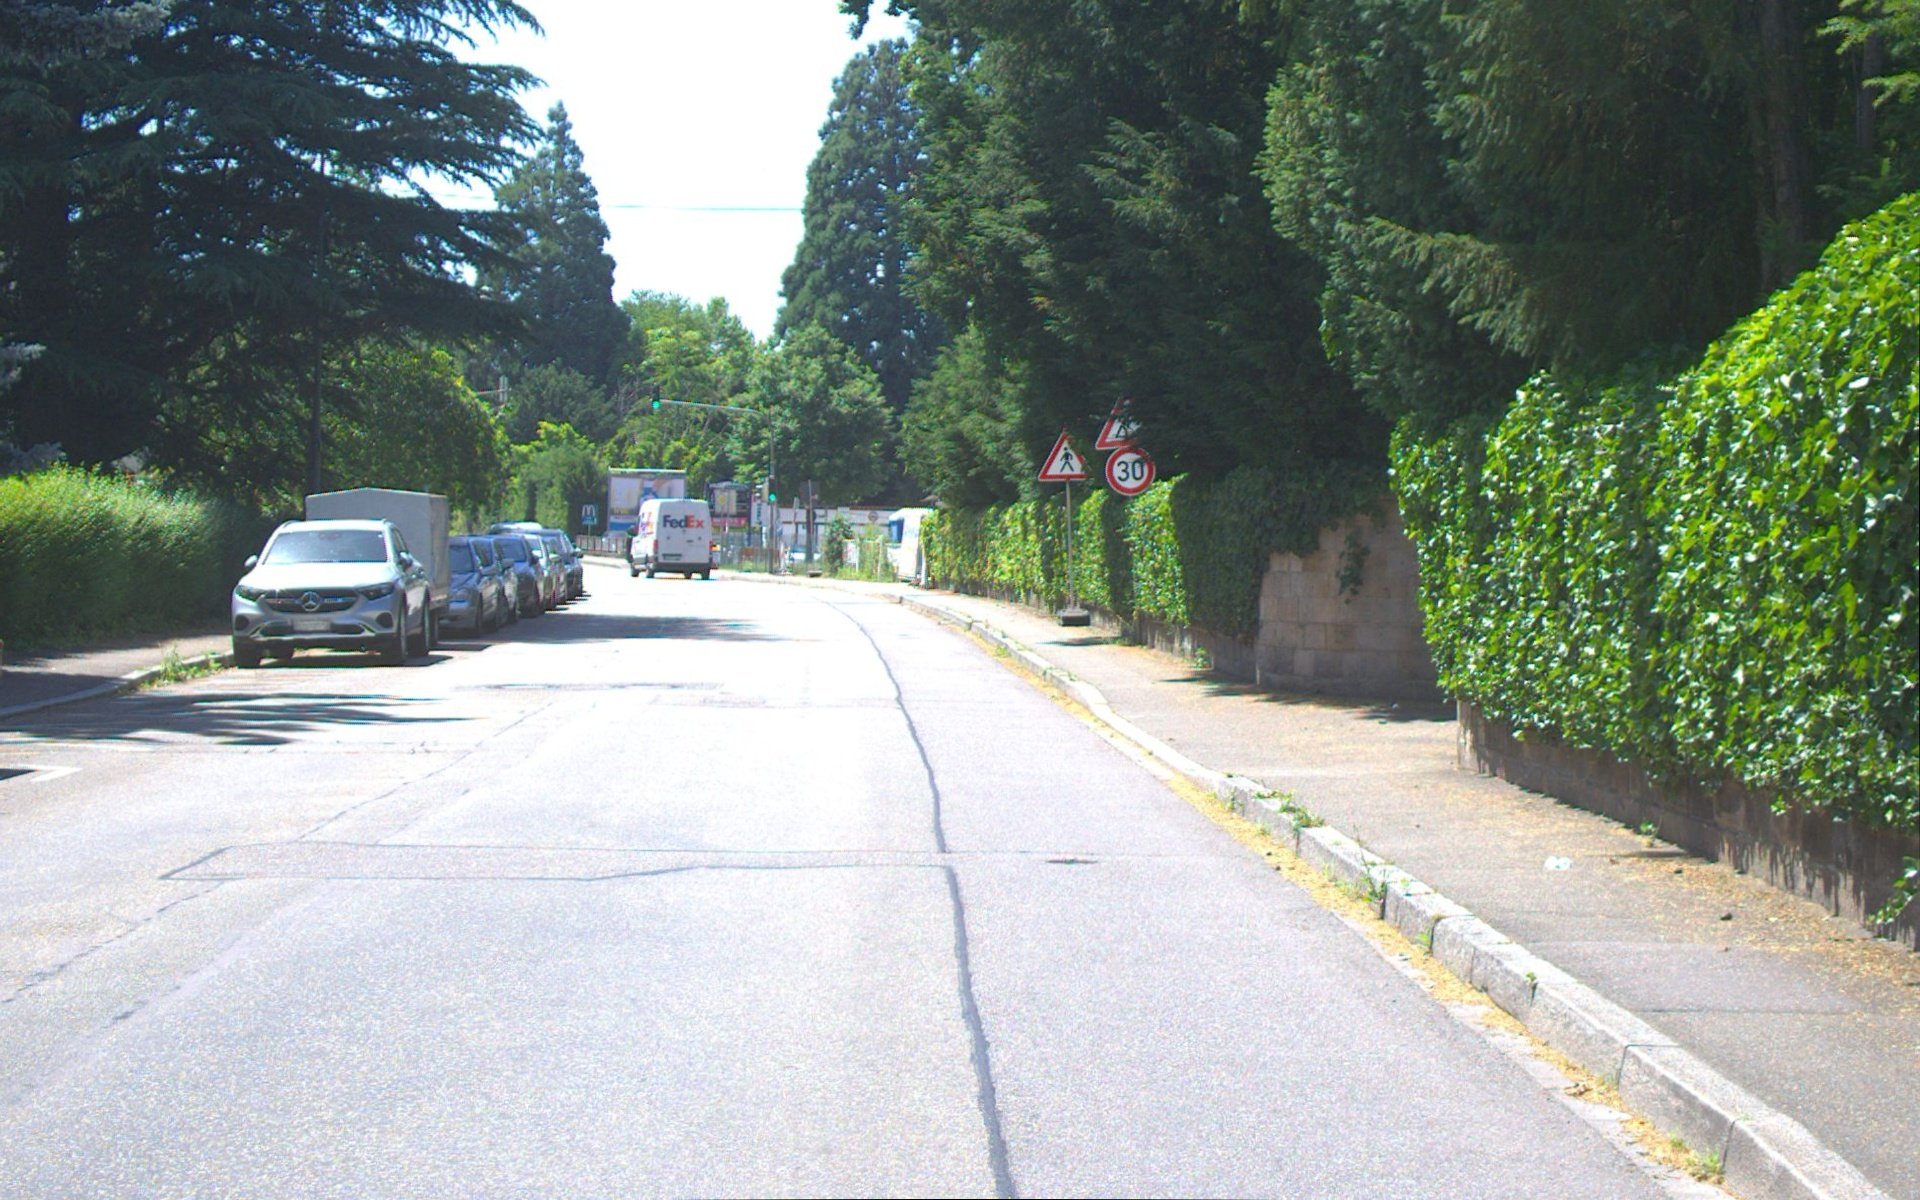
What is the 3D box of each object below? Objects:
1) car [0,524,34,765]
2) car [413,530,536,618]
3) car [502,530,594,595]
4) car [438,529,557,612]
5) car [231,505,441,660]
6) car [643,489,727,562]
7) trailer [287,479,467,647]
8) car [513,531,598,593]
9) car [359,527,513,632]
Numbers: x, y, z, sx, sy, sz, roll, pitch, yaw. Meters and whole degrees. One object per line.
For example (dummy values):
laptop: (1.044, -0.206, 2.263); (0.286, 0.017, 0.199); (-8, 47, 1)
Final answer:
car: (-6.674, 0.307, 20.699); (1.411, 1.498, 2.840); (-1, 1, 0)
car: (-7.906, -0.439, 56.229); (1.582, 1.385, 3.883); (0, 1, -2)
car: (-9.225, -0.854, 77.247); (1.688, 1.439, 4.136); (0, 1, -2)
car: (-8.240, -0.555, 61.477); (1.688, 1.439, 4.136); (0, 1, -2)
car: (-7.186, -0.228, 39.993); (1.850, 1.665, 4.713); (-1, 1, -4)
car: (-8.940, -2.409, 111.498); (2.143, 2.307, 4.854); (-1, 1, -11)
trailer: (-7.475, -0.493, 44.426); (1.847, 2.033, 4.164); (-1, 1, -4)
car: (-9.669, -0.925, 82.428); (1.688, 1.439, 4.136); (0, 1, -2)
car: (-7.620, -0.321, 50.306); (1.709, 1.434, 4.322); (-1, 1, -2)
